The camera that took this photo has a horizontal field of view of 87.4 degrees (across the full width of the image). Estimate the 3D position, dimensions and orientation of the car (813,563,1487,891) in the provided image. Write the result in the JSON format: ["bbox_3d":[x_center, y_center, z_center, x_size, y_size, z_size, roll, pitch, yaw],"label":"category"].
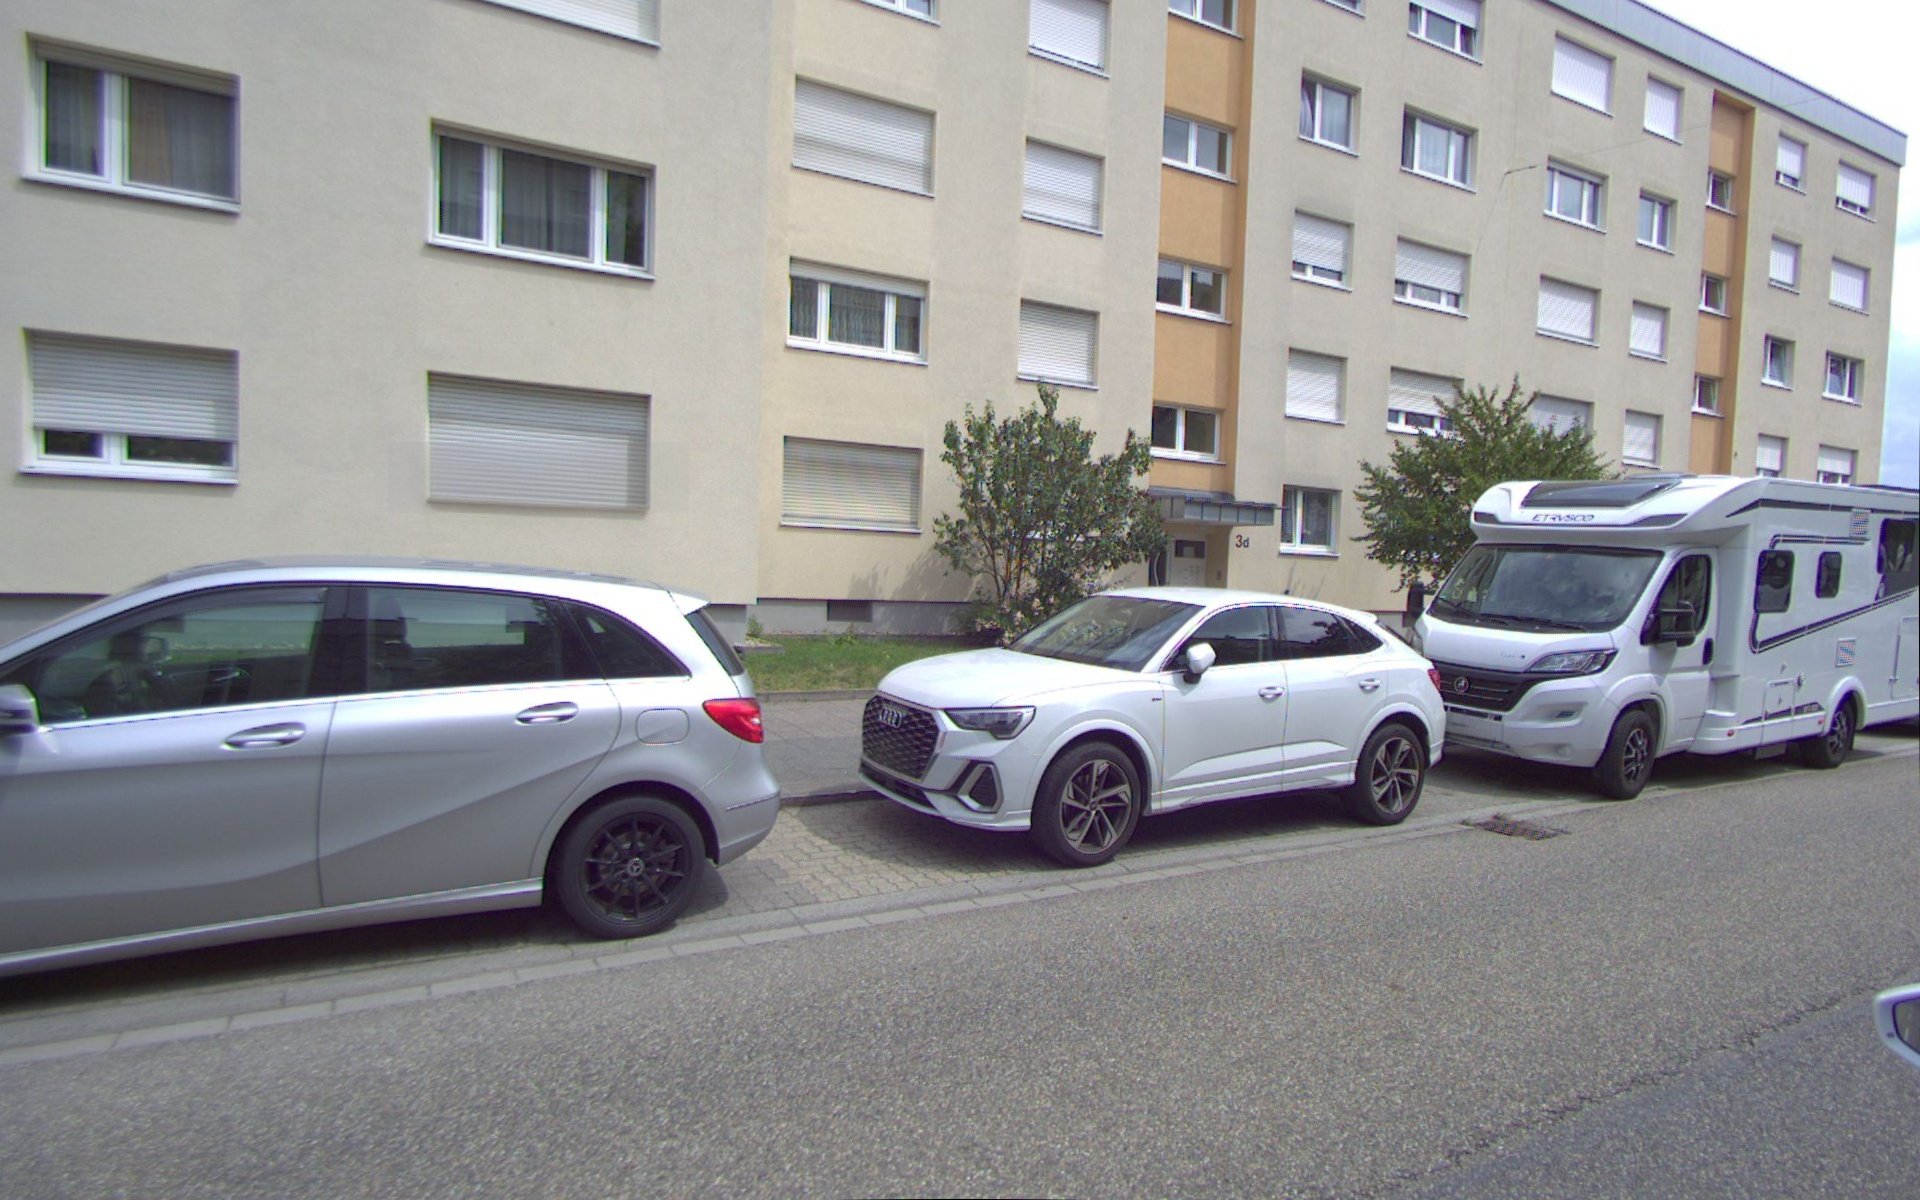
[{"bbox_3d":[1.442,0.645,6.899,4.541,1.601,1.680,1,3,-31],"label":"car"}]

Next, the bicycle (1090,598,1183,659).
[{"bbox_3d":[3.045,0.478,17.287,1.663,0.992,0.395,0,2,-27],"label":"bicycle"}]

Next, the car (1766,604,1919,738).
[{"bbox_3d":[13.135,0.890,13.808,4.541,1.516,1.680,1,3,-31],"label":"car"}]

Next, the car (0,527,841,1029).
[{"bbox_3d":[-2.950,0.544,4.268,4.513,1.601,1.746,1,3,-30],"label":"car"}]

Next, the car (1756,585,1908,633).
[{"bbox_3d":[34.886,0.317,40.317,1.975,1.707,4.154,0,2,-28],"label":"car"}]

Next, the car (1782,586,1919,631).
[{"bbox_3d":[37.392,0.309,42.045,1.975,1.707,4.154,0,2,-28],"label":"car"}]

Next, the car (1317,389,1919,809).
[{"bbox_3d":[7.207,-0.008,10.285,7.311,3.065,2.497,1,3,-31],"label":"car"}]

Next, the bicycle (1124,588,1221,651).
[{"bbox_3d":[3.475,0.304,16.413,1.656,0.992,0.395,0,2,-27],"label":"bicycle"}]

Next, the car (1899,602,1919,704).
[{"bbox_3d":[17.734,0.927,16.707,5.163,1.601,1.874,1,3,-33],"label":"car"}]

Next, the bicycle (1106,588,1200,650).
[{"bbox_3d":[3.254,0.311,16.886,1.663,0.992,0.395,0,2,-27],"label":"bicycle"}]
